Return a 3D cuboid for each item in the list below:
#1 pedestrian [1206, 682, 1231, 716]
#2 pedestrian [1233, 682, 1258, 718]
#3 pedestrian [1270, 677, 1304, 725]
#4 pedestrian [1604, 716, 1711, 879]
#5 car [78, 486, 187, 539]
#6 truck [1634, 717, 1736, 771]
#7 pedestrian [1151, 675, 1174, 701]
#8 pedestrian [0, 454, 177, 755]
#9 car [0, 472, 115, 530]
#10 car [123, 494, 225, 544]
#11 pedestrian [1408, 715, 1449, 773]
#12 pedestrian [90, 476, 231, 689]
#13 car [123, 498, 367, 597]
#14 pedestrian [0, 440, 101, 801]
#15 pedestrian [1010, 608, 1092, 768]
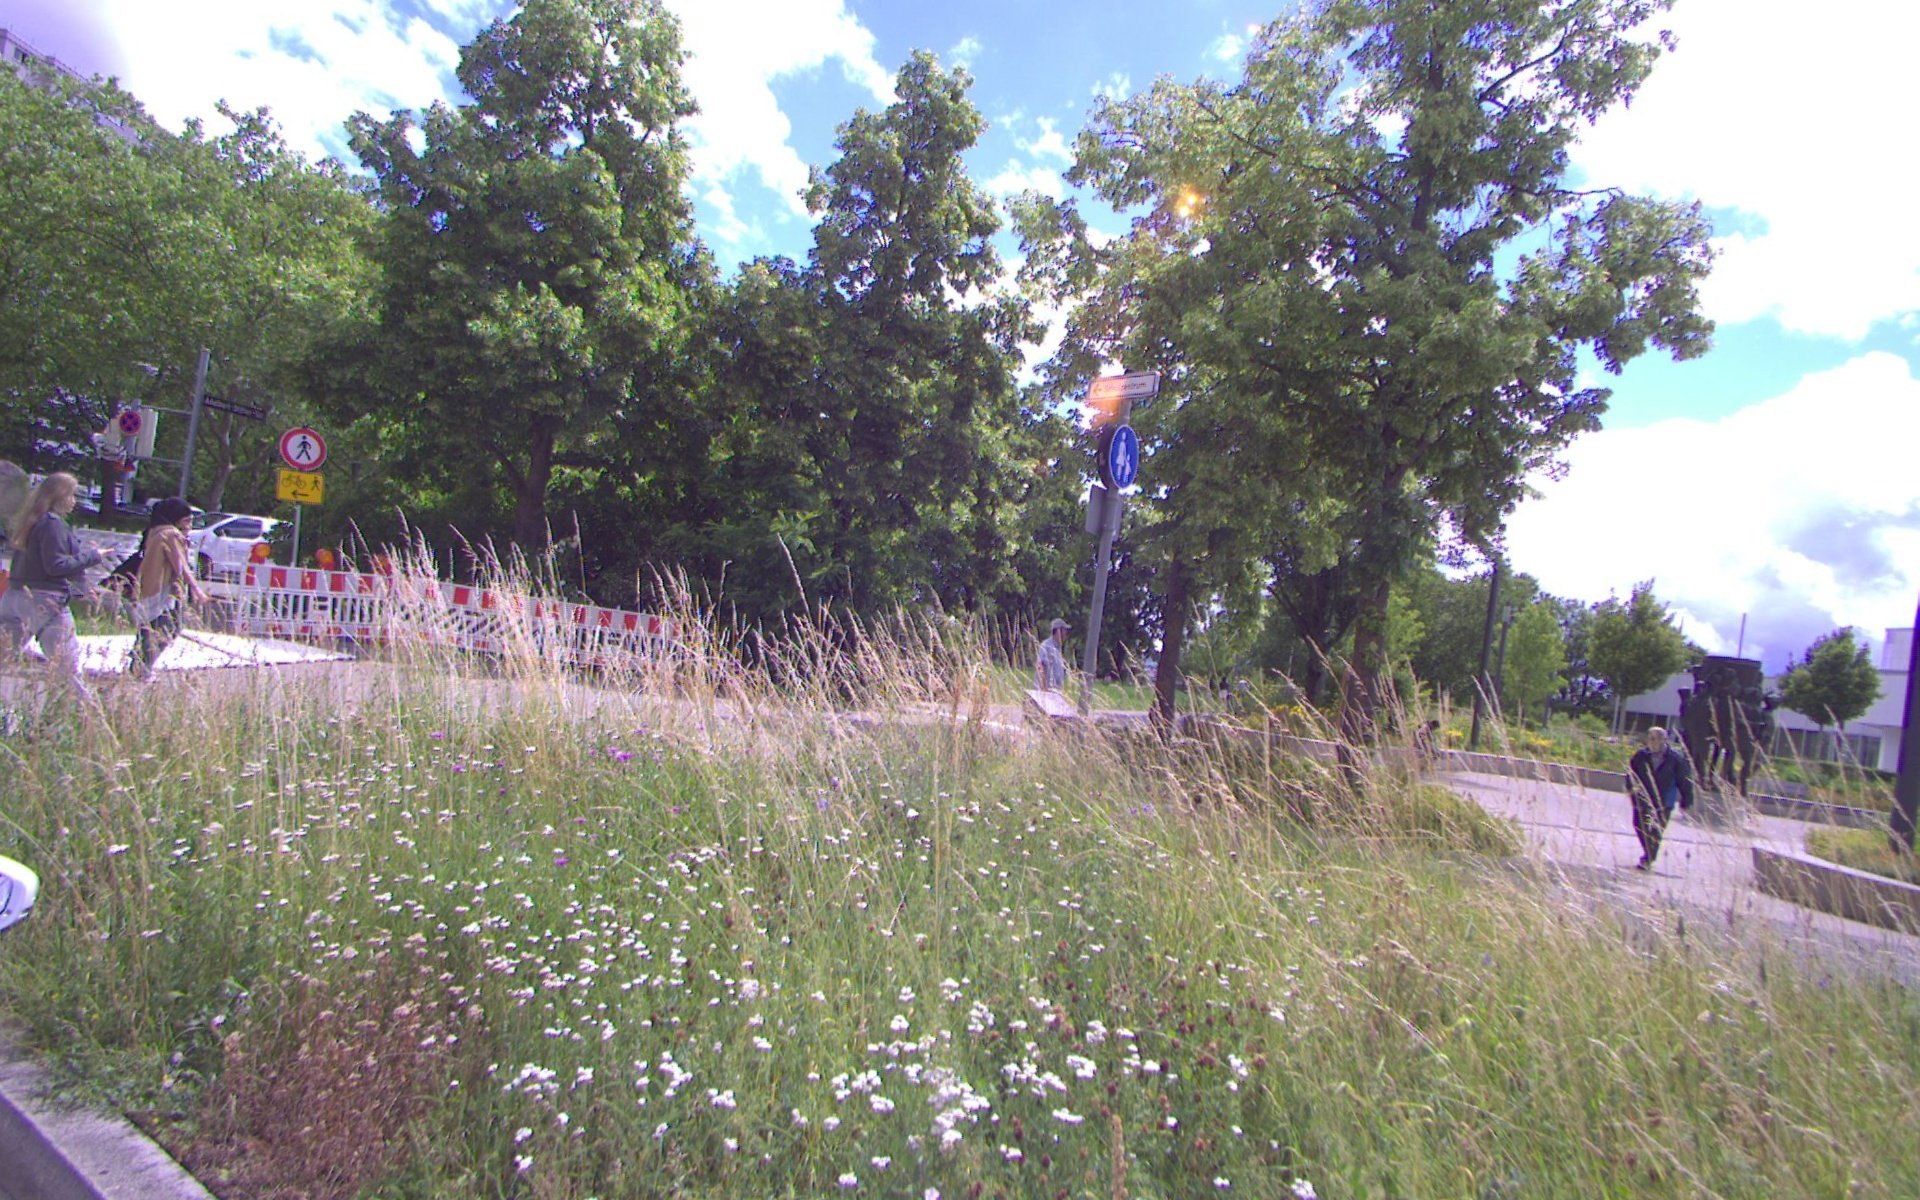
[{"bbox_3d":[13.582,5.197,52.849,0.872,1.681,0.817,8,-1,30],"label":"pedestrian"},{"bbox_3d":[14.836,5.175,52.304,0.879,1.732,0.817,8,-1,30],"label":"pedestrian"},{"bbox_3d":[15.126,4.682,46.512,1.137,2.037,0.817,8,0,30],"label":"pedestrian"},{"bbox_3d":[7.885,2.201,11.367,0.761,1.644,0.762,7,-1,40],"label":"pedestrian"},{"bbox_3d":[-43.788,-4.599,53.286,3.926,2.037,2.001,8,-1,0],"label":"car"},{"bbox_3d":[37.319,7.394,51.927,1.965,2.037,3.999,8,-1,-4],"label":"truck"},{"bbox_3d":[13.684,5.970,67.972,1.135,1.571,0.818,8,-1,-2],"label":"pedestrian"},{"bbox_3d":[-5.580,0.012,6.030,0.914,1.667,1.021,7,-1,35],"label":"pedestrian"},{"bbox_3d":[-43.693,-4.775,48.570,3.926,2.037,2.001,8,-1,0],"label":"car"},{"bbox_3d":[-44.243,-4.526,56.689,3.926,2.037,2.001,8,-1,0],"label":"car"},{"bbox_3d":[10.778,3.308,23.154,0.623,1.236,0.618,7,-1,36],"label":"pedestrian"},{"bbox_3d":[-7.191,-0.155,9.085,0.778,1.763,0.820,8,-1,-38],"label":"pedestrian"},{"bbox_3d":[-19.715,-1.385,28.052,1.915,1.895,5.090,7,-2,28],"label":"car"},{"bbox_3d":[-4.890,0.044,4.706,0.866,1.667,0.960,7,-1,32],"label":"pedestrian"},{"bbox_3d":[1.125,1.084,12.607,0.750,1.862,0.773,7,-1,2],"label":"pedestrian"}]
